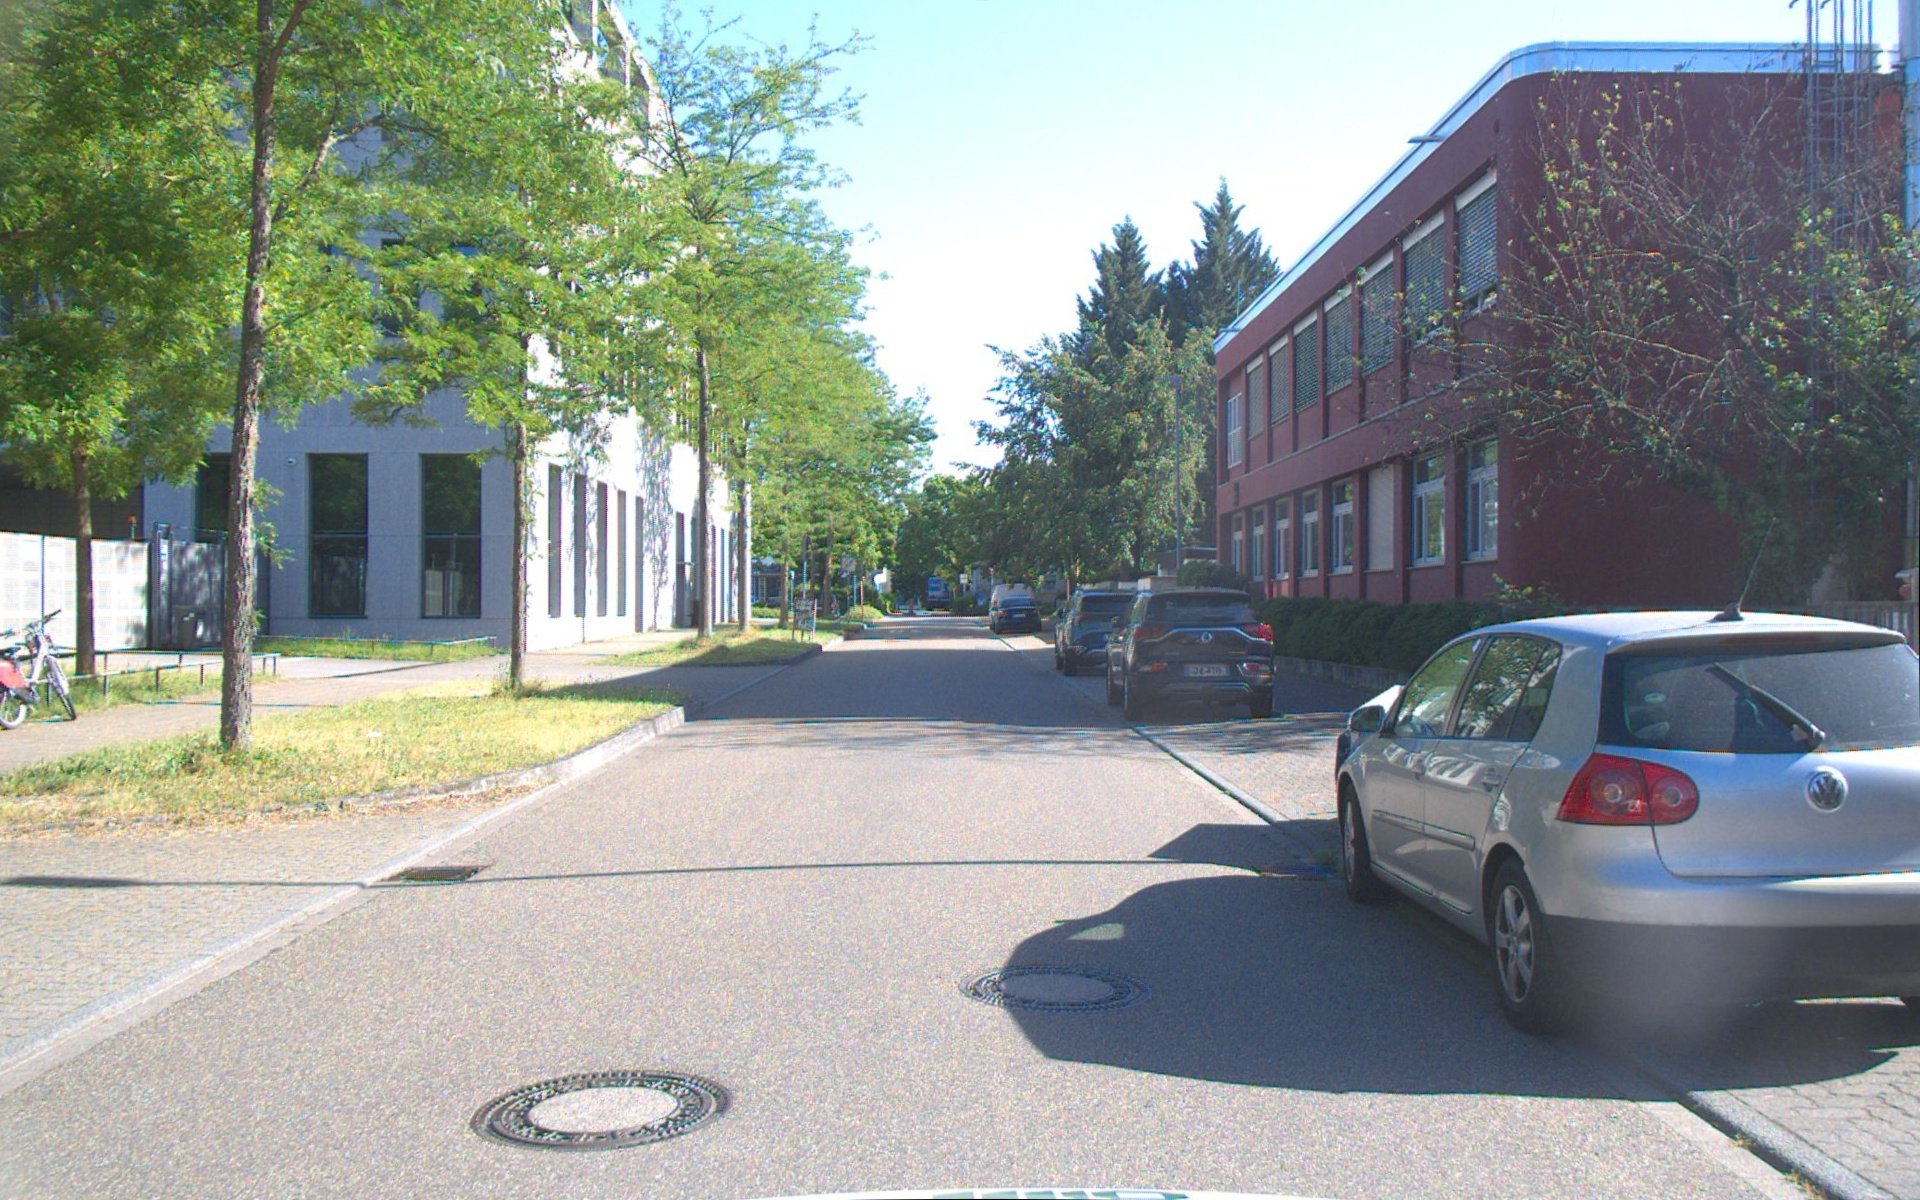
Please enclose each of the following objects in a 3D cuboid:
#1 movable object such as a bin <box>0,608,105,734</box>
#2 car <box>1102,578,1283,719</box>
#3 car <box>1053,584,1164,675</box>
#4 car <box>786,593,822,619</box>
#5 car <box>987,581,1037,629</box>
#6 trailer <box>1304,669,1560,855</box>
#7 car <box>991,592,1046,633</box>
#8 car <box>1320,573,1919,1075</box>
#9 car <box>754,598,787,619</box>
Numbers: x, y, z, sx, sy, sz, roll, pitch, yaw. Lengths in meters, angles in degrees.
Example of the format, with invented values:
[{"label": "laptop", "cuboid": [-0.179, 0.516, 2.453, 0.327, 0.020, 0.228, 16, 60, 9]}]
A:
[{"label": "movable object such as a bin", "cuboid": [-9.621, 0.696, 17.015, 0.649, 1.202, 1.935, 0, 0, -1]}, {"label": "car", "cuboid": [2.928, 0.568, 21.662, 1.800, 1.662, 4.201, 0, 0, 0]}, {"label": "car", "cuboid": [2.868, 0.533, 32.770, 1.817, 1.677, 4.000, -1, 0, 0]}, {"label": "car", "cuboid": [-9.096, 0.346, 96.792, 1.954, 1.483, 3.790, 0, 0, -4]}, {"label": "car", "cuboid": [2.205, 0.202, 71.188, 1.953, 1.866, 4.000, -3, 0, 0]}, {"label": "trailer", "cuboid": [3.306, 1.016, 11.289, 1.344, 0.928, 2.937, 0, 0, 23]}, {"label": "car", "cuboid": [2.272, 0.463, 65.453, 1.953, 1.467, 4.000, -3, 0, 0]}, {"label": "car", "cuboid": [2.807, 0.703, 7.211, 1.626, 1.588, 3.934, 0, 0, 0]}, {"label": "car", "cuboid": [-12.246, 0.542, 107.055, 1.868, 1.365, 3.790, 0, 0, -3]}]
